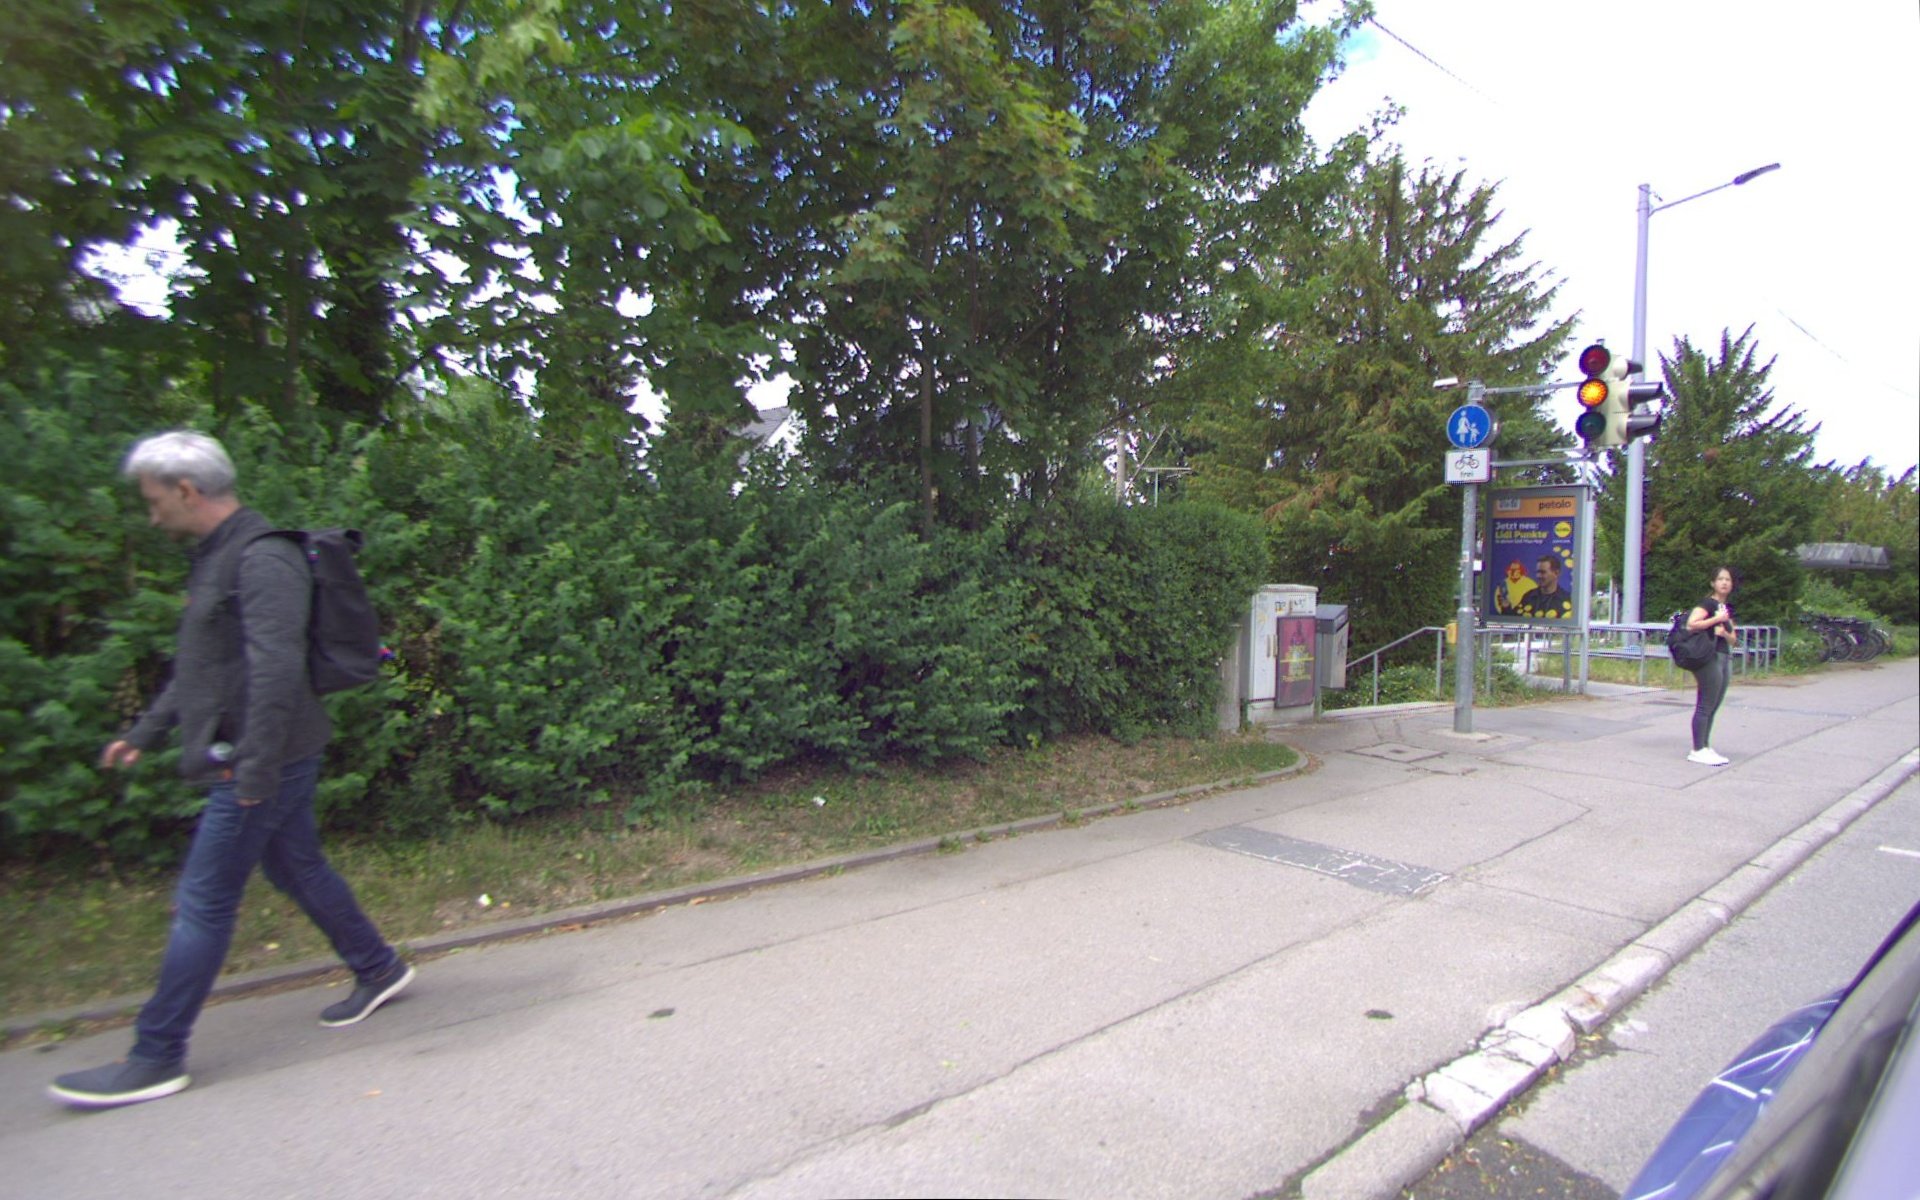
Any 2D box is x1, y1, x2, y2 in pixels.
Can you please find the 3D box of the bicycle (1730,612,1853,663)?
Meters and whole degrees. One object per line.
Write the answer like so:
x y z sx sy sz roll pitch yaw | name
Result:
18.623 0.821 22.703 0.443 1.060 2.091 0 1 -42 | bicycle

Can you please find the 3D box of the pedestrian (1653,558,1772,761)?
6.575 0.488 8.845 0.695 1.685 0.649 0 0 -36 | pedestrian

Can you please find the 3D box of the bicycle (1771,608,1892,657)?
21.484 0.779 25.004 0.443 1.060 2.209 0 2 -34 | bicycle

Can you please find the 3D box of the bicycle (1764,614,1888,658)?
20.468 0.836 23.964 0.444 0.950 2.203 0 1 -42 | bicycle

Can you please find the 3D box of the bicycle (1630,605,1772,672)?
14.086 0.707 19.309 0.536 1.094 2.095 0 3 -37 | bicycle

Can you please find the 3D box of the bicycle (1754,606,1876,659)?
21.015 0.778 24.927 0.443 1.060 2.206 0 5 -41 | bicycle

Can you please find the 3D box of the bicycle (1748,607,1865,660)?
19.441 0.743 23.297 0.441 1.060 2.100 0 3 -19 | bicycle

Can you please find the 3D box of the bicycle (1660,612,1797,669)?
15.219 0.778 20.104 0.548 1.061 2.094 0 -1 -37 | bicycle

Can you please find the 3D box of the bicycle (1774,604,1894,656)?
21.791 0.720 25.291 0.443 1.163 2.209 0 2 -34 | bicycle

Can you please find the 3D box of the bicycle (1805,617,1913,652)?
23.657 0.889 26.676 0.443 0.836 2.084 0 1 -34 | bicycle

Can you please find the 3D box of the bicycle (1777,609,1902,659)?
20.917 0.794 24.117 0.443 1.060 2.204 0 2 -41 | bicycle

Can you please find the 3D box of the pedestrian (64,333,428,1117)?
-2.063 0.297 2.995 0.786 1.906 0.748 0 0 -34 | pedestrian

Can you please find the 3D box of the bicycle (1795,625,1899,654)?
22.514 0.991 25.740 1.978 0.647 0.327 1 1 40 | bicycle

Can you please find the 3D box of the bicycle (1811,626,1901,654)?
22.449 0.995 25.402 1.674 0.647 0.327 1 0 40 | bicycle

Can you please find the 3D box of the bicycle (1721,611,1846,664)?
18.177 0.806 22.387 0.443 1.060 2.091 0 1 -42 | bicycle

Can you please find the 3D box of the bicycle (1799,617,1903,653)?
23.099 0.892 26.271 0.443 0.836 1.993 0 1 -39 | bicycle

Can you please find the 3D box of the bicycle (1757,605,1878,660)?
20.016 0.740 23.666 0.521 1.165 2.091 0 1 -42 | bicycle
